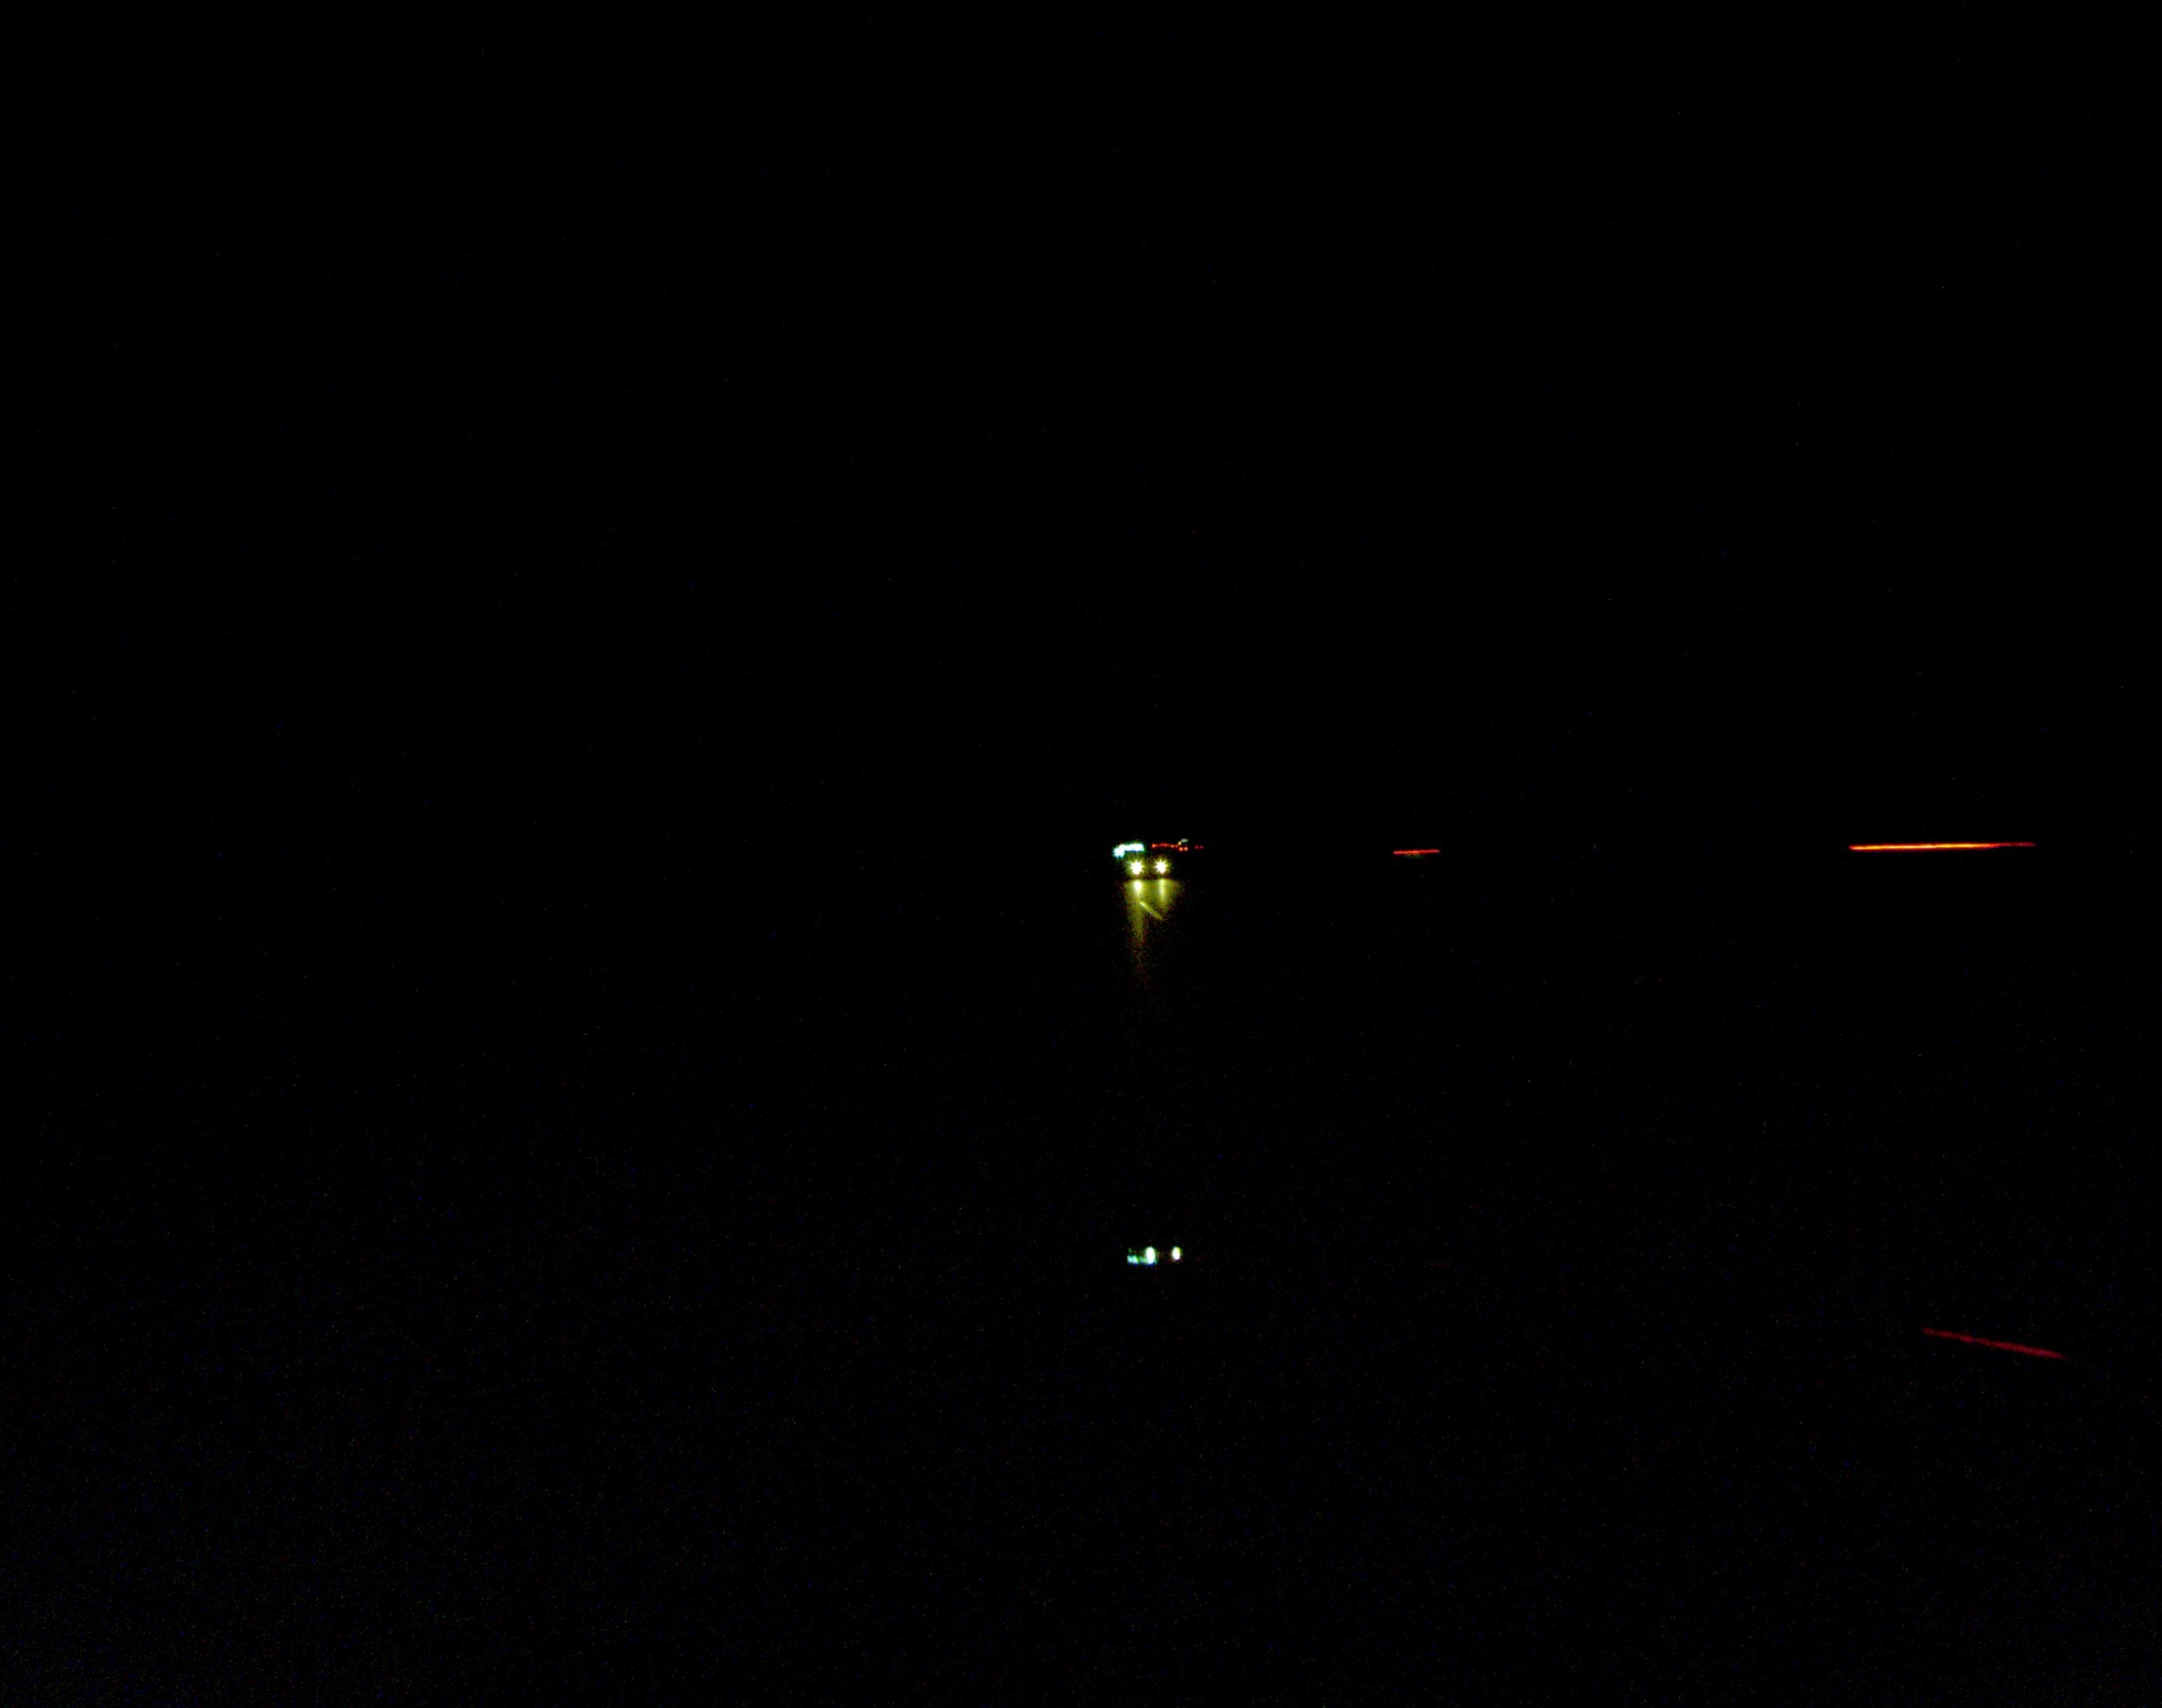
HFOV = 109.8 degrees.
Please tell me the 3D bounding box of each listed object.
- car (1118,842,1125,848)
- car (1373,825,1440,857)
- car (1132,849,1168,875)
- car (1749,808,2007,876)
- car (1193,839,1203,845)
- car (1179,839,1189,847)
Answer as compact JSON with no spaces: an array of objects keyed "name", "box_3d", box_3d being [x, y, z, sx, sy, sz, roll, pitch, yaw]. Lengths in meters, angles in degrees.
[{"name":"car","box_3d":[12.143,-2.614,225.571,1.998,1.724,4.225,-3,0,3]},{"name":"car","box_3d":[19.717,-0.802,46.232,2.109,1.779,4.658,-3,1,1]},{"name":"car","box_3d":[4.282,0.486,47.691,1.998,1.423,4.330,-3,0,2]},{"name":"car","box_3d":[23.297,-0.364,22.655,2.109,1.678,5.386,-3,1,1]},{"name":"car","box_3d":[29.434,-2.961,191.275,1.778,1.421,4.659,-3,1,3]},{"name":"car","box_3d":[26.045,-2.844,191.902,2.109,1.874,4.659,-3,1,3]}]
